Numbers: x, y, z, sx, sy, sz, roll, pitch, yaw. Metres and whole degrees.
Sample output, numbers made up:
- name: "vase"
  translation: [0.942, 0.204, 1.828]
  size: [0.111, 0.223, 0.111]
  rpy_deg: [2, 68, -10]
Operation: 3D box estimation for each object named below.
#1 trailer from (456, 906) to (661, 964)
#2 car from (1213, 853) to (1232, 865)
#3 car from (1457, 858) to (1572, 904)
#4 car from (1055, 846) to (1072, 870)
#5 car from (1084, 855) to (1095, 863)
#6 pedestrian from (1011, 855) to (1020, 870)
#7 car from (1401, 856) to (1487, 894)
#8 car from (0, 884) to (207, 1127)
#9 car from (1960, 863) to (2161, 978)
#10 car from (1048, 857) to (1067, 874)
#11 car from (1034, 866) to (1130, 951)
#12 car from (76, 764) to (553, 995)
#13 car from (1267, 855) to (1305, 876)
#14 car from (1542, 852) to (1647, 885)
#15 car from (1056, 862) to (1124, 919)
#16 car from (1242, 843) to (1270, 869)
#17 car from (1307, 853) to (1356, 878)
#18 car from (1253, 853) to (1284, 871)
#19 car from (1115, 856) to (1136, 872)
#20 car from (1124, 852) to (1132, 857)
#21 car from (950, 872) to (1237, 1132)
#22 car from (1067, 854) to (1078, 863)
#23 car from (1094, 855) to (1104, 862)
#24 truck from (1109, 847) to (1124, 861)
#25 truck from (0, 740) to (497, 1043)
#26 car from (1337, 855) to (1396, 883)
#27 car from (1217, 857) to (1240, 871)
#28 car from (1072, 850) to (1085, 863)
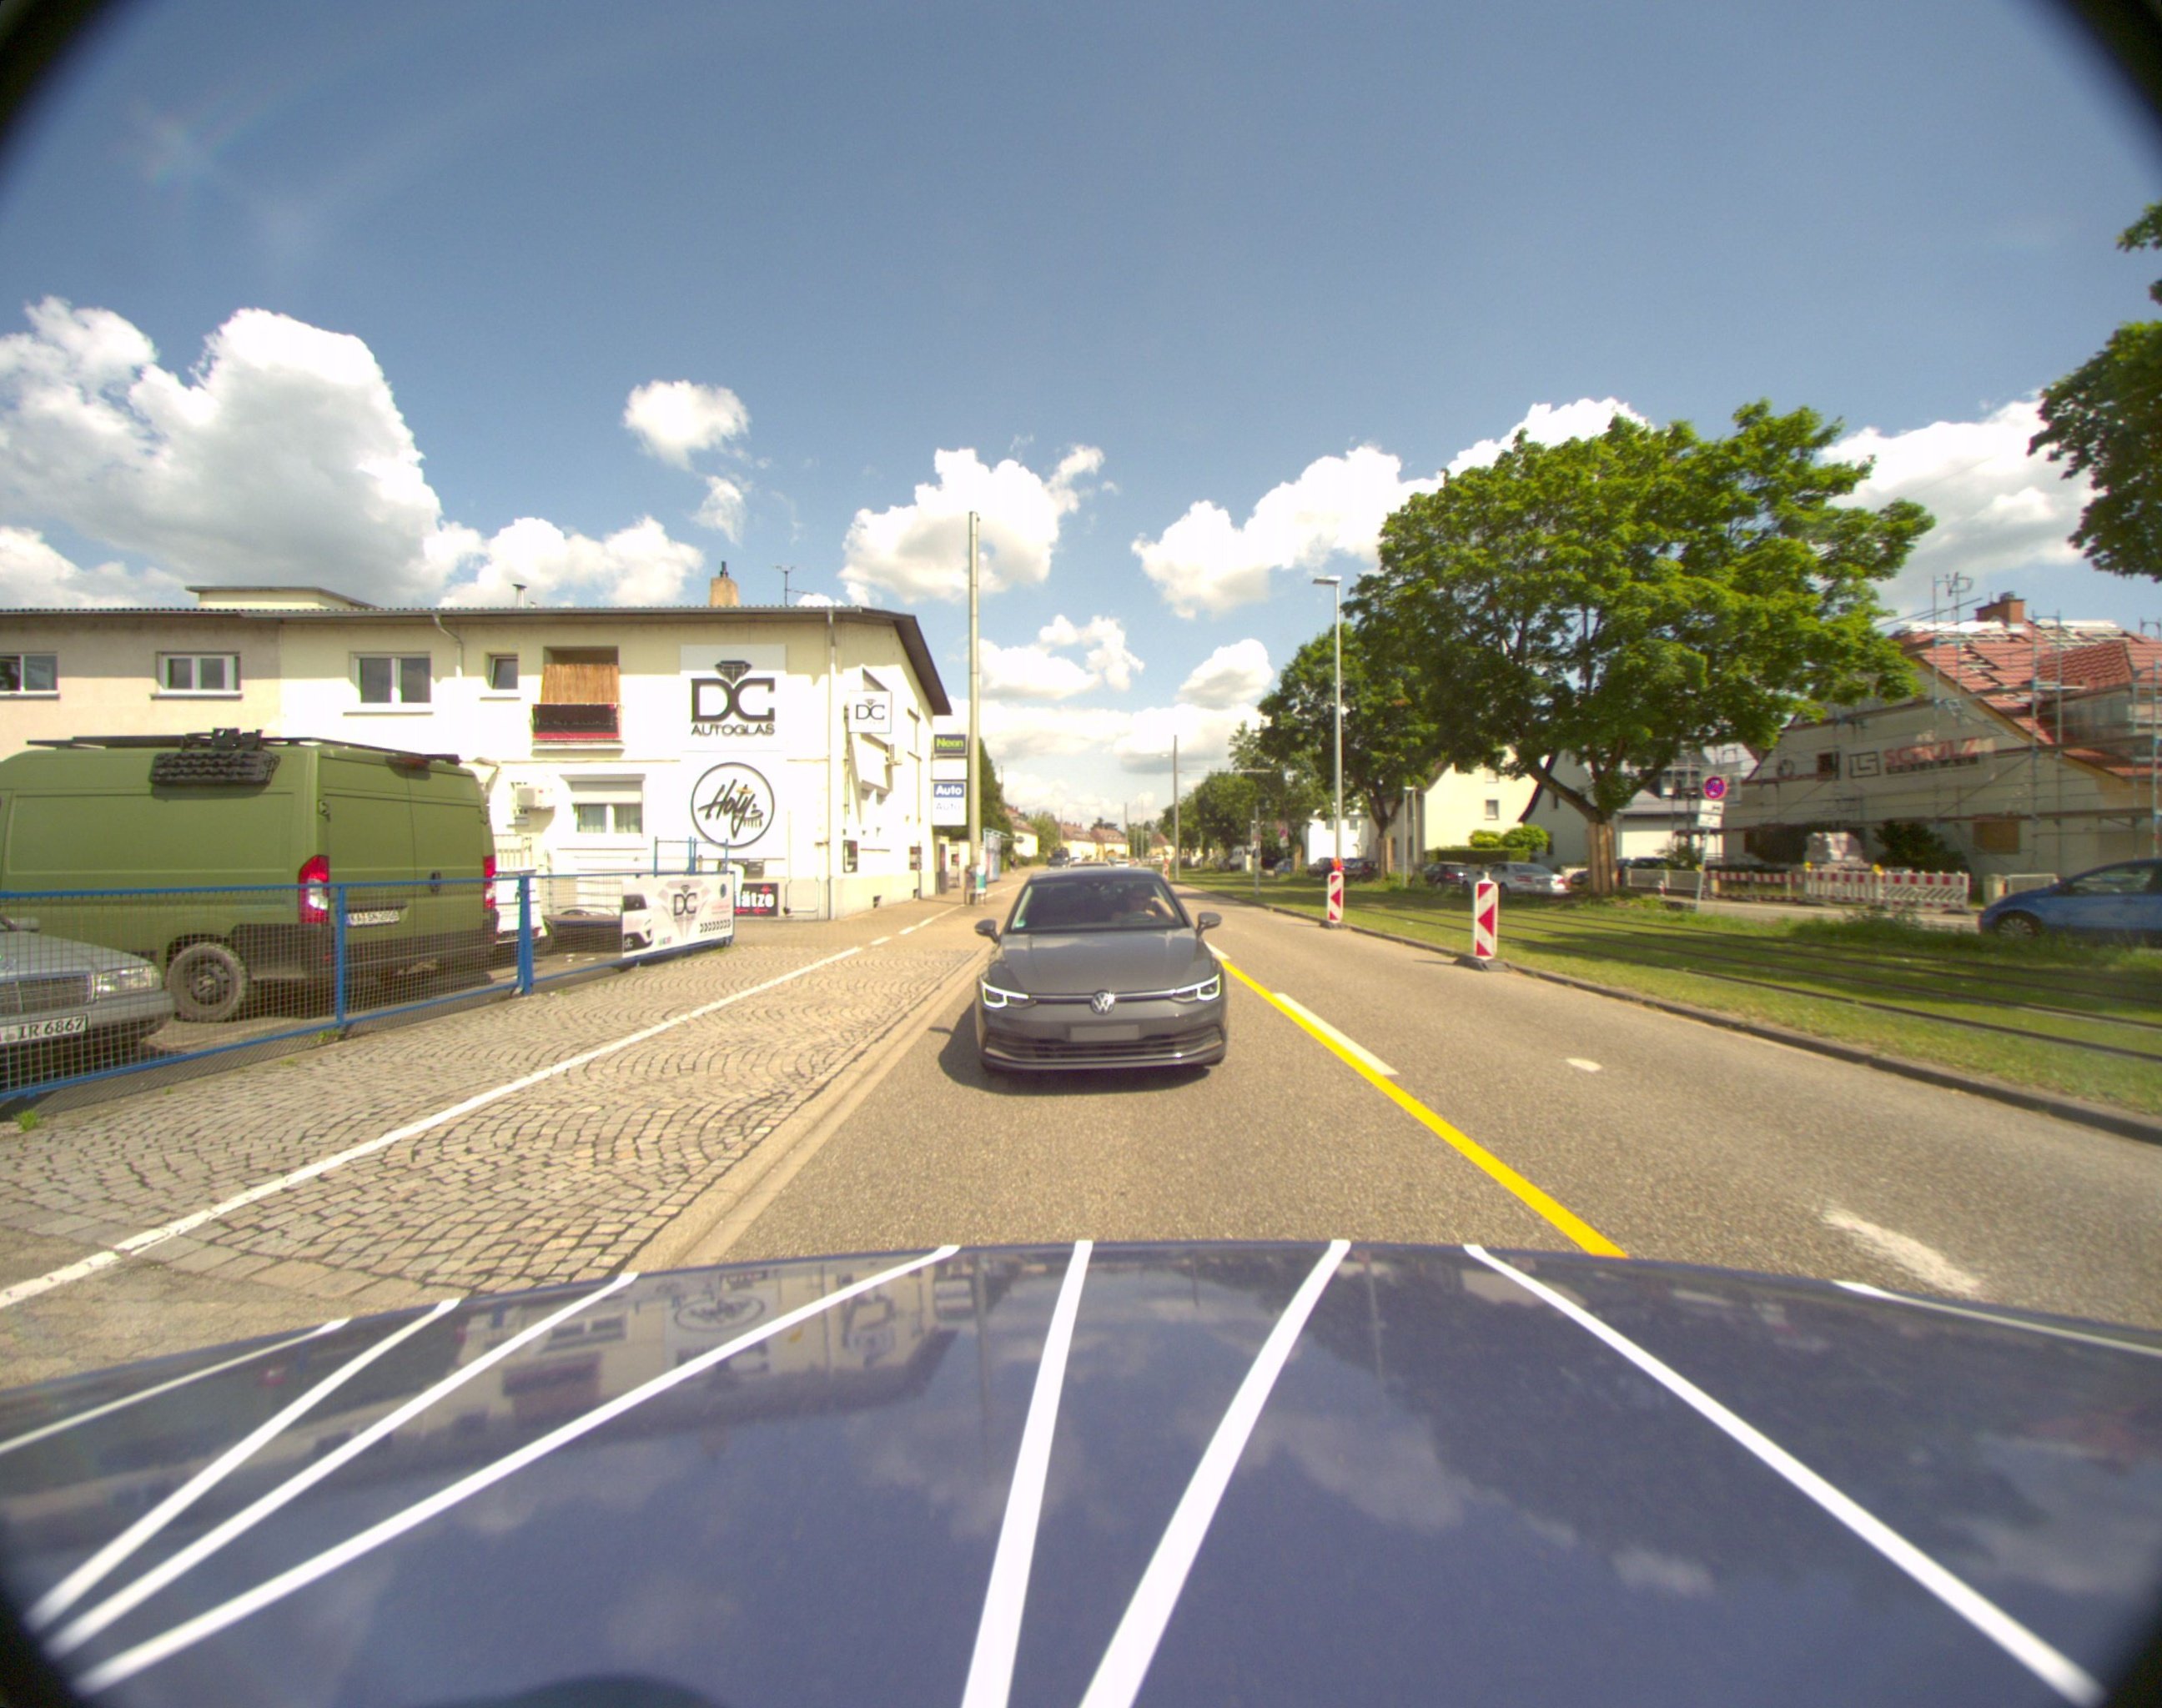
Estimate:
- name: "trailer"
  translation: [-8.061, 1.237, 11.836]
  size: [2.329, 0.762, 1.269]
  rpy_deg: [0, 0, 2]
- name: "car"
  translation: [19.960, 0.704, 107.172]
  size: [1.755, 1.602, 4.606]
  rpy_deg: [0, 0, 0]
- name: "car"
  translation: [16.390, 0.965, 29.007]
  size: [1.755, 1.602, 4.606]
  rpy_deg: [0, 0, 0]
- name: "car"
  translation: [-1.917, 0.408, 82.849]
  size: [1.720, 2.526, 5.794]
  rpy_deg: [0, 0, 0]
- name: "car"
  translation: [1.816, 0.982, 155.302]
  size: [1.718, 1.470, 4.011]
  rpy_deg: [0, 0, 8]
- name: "pedestrian"
  translation: [-6.762, 0.847, 78.643]
  size: [0.816, 1.577, 0.918]
  rpy_deg: [0, 0, 1]
- name: "car"
  translation: [16.591, 0.916, 35.030]
  size: [1.755, 1.602, 4.606]
  rpy_deg: [0, 0, 0]
- name: "car"
  translation: [-8.436, 0.917, 4.810]
  size: [4.206, 1.388, 1.804]
  rpy_deg: [0, 0, 8]
- name: "car"
  translation: [16.229, 0.959, 11.232]
  size: [1.755, 1.602, 4.050]
  rpy_deg: [0, 0, 0]
- name: "car"
  translation: [-2.159, 1.063, 70.987]
  size: [1.720, 1.470, 4.009]
  rpy_deg: [0, 0, 0]
- name: "car"
  translation: [0.039, 1.005, 15.643]
  size: [1.719, 1.470, 4.009]
  rpy_deg: [0, 0, 1]
- name: "car"
  translation: [-9.454, 0.301, 9.652]
  size: [4.209, 2.653, 1.803]
  rpy_deg: [0, 0, 0]
- name: "car"
  translation: [16.496, 0.915, 61.357]
  size: [1.755, 1.602, 4.606]
  rpy_deg: [0, 0, 0]
- name: "car"
  translation: [25.513, 0.721, 37.833]
  size: [4.047, 1.602, 1.757]
  rpy_deg: [0, 0, 1]
- name: "car"
  translation: [0.269, 0.988, 22.041]
  size: [1.787, 1.470, 4.009]
  rpy_deg: [0, 0, 1]
- name: "car"
  translation: [17.647, 0.195, 76.990]
  size: [1.755, 2.601, 4.606]
  rpy_deg: [0, 0, 0]
- name: "car"
  translation: [16.680, 0.763, 50.907]
  size: [1.755, 1.602, 4.606]
  rpy_deg: [0, 0, 0]
- name: "car"
  translation: [17.586, 0.754, 71.496]
  size: [1.755, 1.602, 4.606]
  rpy_deg: [0, 0, 0]
- name: "car"
  translation: [4.145, 0.938, 71.430]
  size: [1.719, 1.405, 4.262]
  rpy_deg: [0, 0, 1]
- name: "car"
  translation: [13.533, 0.228, 218.477]
  size: [1.718, 1.470, 4.013]
  rpy_deg: [0, 0, 13]
- name: "car"
  translation: [0.101, 0.937, 6.570]
  size: [1.719, 1.470, 4.009]
  rpy_deg: [0, 0, 1]
- name: "car"
  translation: [-1.364, 0.733, 122.959]
  size: [1.720, 1.470, 4.009]
  rpy_deg: [0, 0, 0]
- name: "car"
  translation: [4.106, 0.989, 172.736]
  size: [1.718, 1.470, 4.011]
  rpy_deg: [0, 0, 8]
- name: "truck"
  translation: [9.407, 0.015, 201.135]
  size: [2.590, 3.431, 8.585]
  rpy_deg: [0, 0, 11]
- name: "truck"
  translation: [-8.622, 0.328, 7.566]
  size: [3.997, 2.592, 2.069]
  rpy_deg: [0, 0, 1]
- name: "car"
  translation: [16.902, 0.850, 45.268]
  size: [1.755, 1.602, 4.606]
  rpy_deg: [0, 0, 0]
- name: "car"
  translation: [16.933, 1.150, 87.270]
  size: [1.755, 1.602, 4.606]
  rpy_deg: [0, 0, 0]
- name: "car"
  translation: [-0.427, 0.394, 136.323]
  size: [1.719, 2.360, 5.211]
  rpy_deg: [0, 0, 5]
